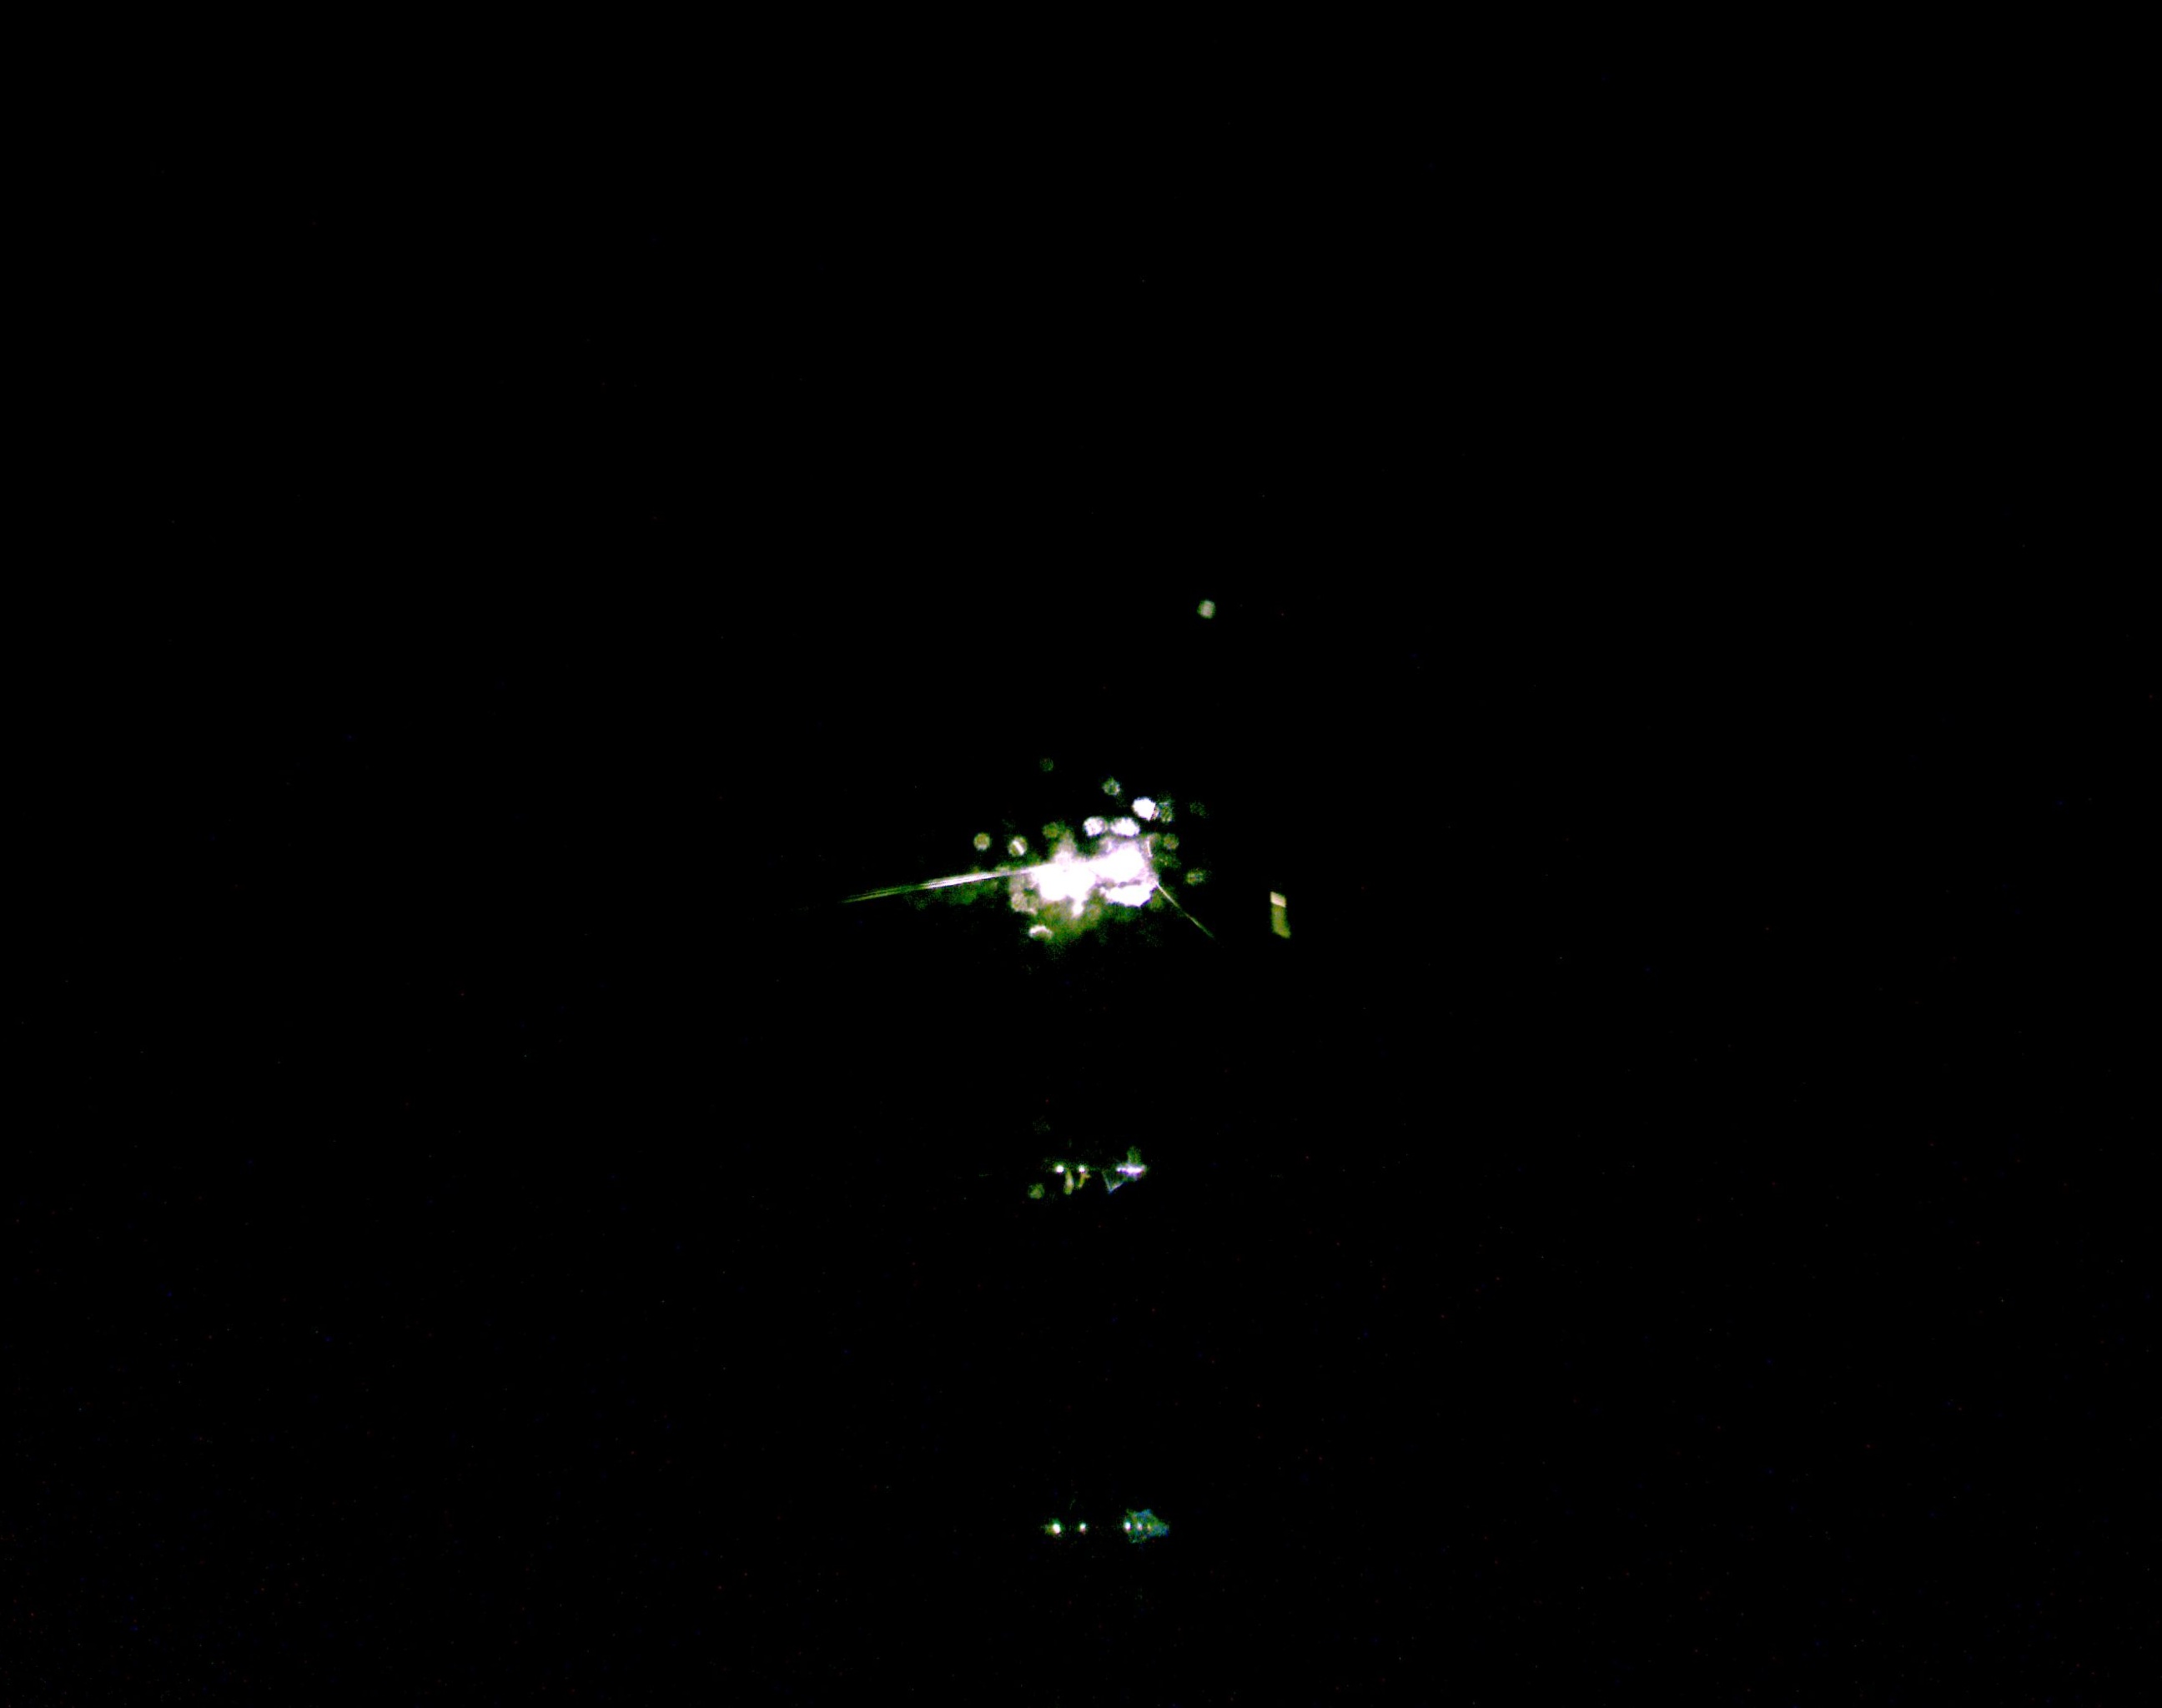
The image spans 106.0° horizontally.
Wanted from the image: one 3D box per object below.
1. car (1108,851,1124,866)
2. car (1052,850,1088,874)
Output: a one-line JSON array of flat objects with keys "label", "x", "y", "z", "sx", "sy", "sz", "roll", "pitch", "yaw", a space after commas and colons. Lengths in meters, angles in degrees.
[{"label": "car", "x": 4.597, "y": 0.591, "z": 106.589, "sx": 1.846, "sy": 1.940, "sz": 4.006, "roll": -2, "pitch": 0, "yaw": 5}, {"label": "car", "x": -0.658, "y": 0.455, "z": 51.172, "sx": 1.985, "sy": 1.391, "sz": 3.849, "roll": -1, "pitch": 0, "yaw": 3}]
